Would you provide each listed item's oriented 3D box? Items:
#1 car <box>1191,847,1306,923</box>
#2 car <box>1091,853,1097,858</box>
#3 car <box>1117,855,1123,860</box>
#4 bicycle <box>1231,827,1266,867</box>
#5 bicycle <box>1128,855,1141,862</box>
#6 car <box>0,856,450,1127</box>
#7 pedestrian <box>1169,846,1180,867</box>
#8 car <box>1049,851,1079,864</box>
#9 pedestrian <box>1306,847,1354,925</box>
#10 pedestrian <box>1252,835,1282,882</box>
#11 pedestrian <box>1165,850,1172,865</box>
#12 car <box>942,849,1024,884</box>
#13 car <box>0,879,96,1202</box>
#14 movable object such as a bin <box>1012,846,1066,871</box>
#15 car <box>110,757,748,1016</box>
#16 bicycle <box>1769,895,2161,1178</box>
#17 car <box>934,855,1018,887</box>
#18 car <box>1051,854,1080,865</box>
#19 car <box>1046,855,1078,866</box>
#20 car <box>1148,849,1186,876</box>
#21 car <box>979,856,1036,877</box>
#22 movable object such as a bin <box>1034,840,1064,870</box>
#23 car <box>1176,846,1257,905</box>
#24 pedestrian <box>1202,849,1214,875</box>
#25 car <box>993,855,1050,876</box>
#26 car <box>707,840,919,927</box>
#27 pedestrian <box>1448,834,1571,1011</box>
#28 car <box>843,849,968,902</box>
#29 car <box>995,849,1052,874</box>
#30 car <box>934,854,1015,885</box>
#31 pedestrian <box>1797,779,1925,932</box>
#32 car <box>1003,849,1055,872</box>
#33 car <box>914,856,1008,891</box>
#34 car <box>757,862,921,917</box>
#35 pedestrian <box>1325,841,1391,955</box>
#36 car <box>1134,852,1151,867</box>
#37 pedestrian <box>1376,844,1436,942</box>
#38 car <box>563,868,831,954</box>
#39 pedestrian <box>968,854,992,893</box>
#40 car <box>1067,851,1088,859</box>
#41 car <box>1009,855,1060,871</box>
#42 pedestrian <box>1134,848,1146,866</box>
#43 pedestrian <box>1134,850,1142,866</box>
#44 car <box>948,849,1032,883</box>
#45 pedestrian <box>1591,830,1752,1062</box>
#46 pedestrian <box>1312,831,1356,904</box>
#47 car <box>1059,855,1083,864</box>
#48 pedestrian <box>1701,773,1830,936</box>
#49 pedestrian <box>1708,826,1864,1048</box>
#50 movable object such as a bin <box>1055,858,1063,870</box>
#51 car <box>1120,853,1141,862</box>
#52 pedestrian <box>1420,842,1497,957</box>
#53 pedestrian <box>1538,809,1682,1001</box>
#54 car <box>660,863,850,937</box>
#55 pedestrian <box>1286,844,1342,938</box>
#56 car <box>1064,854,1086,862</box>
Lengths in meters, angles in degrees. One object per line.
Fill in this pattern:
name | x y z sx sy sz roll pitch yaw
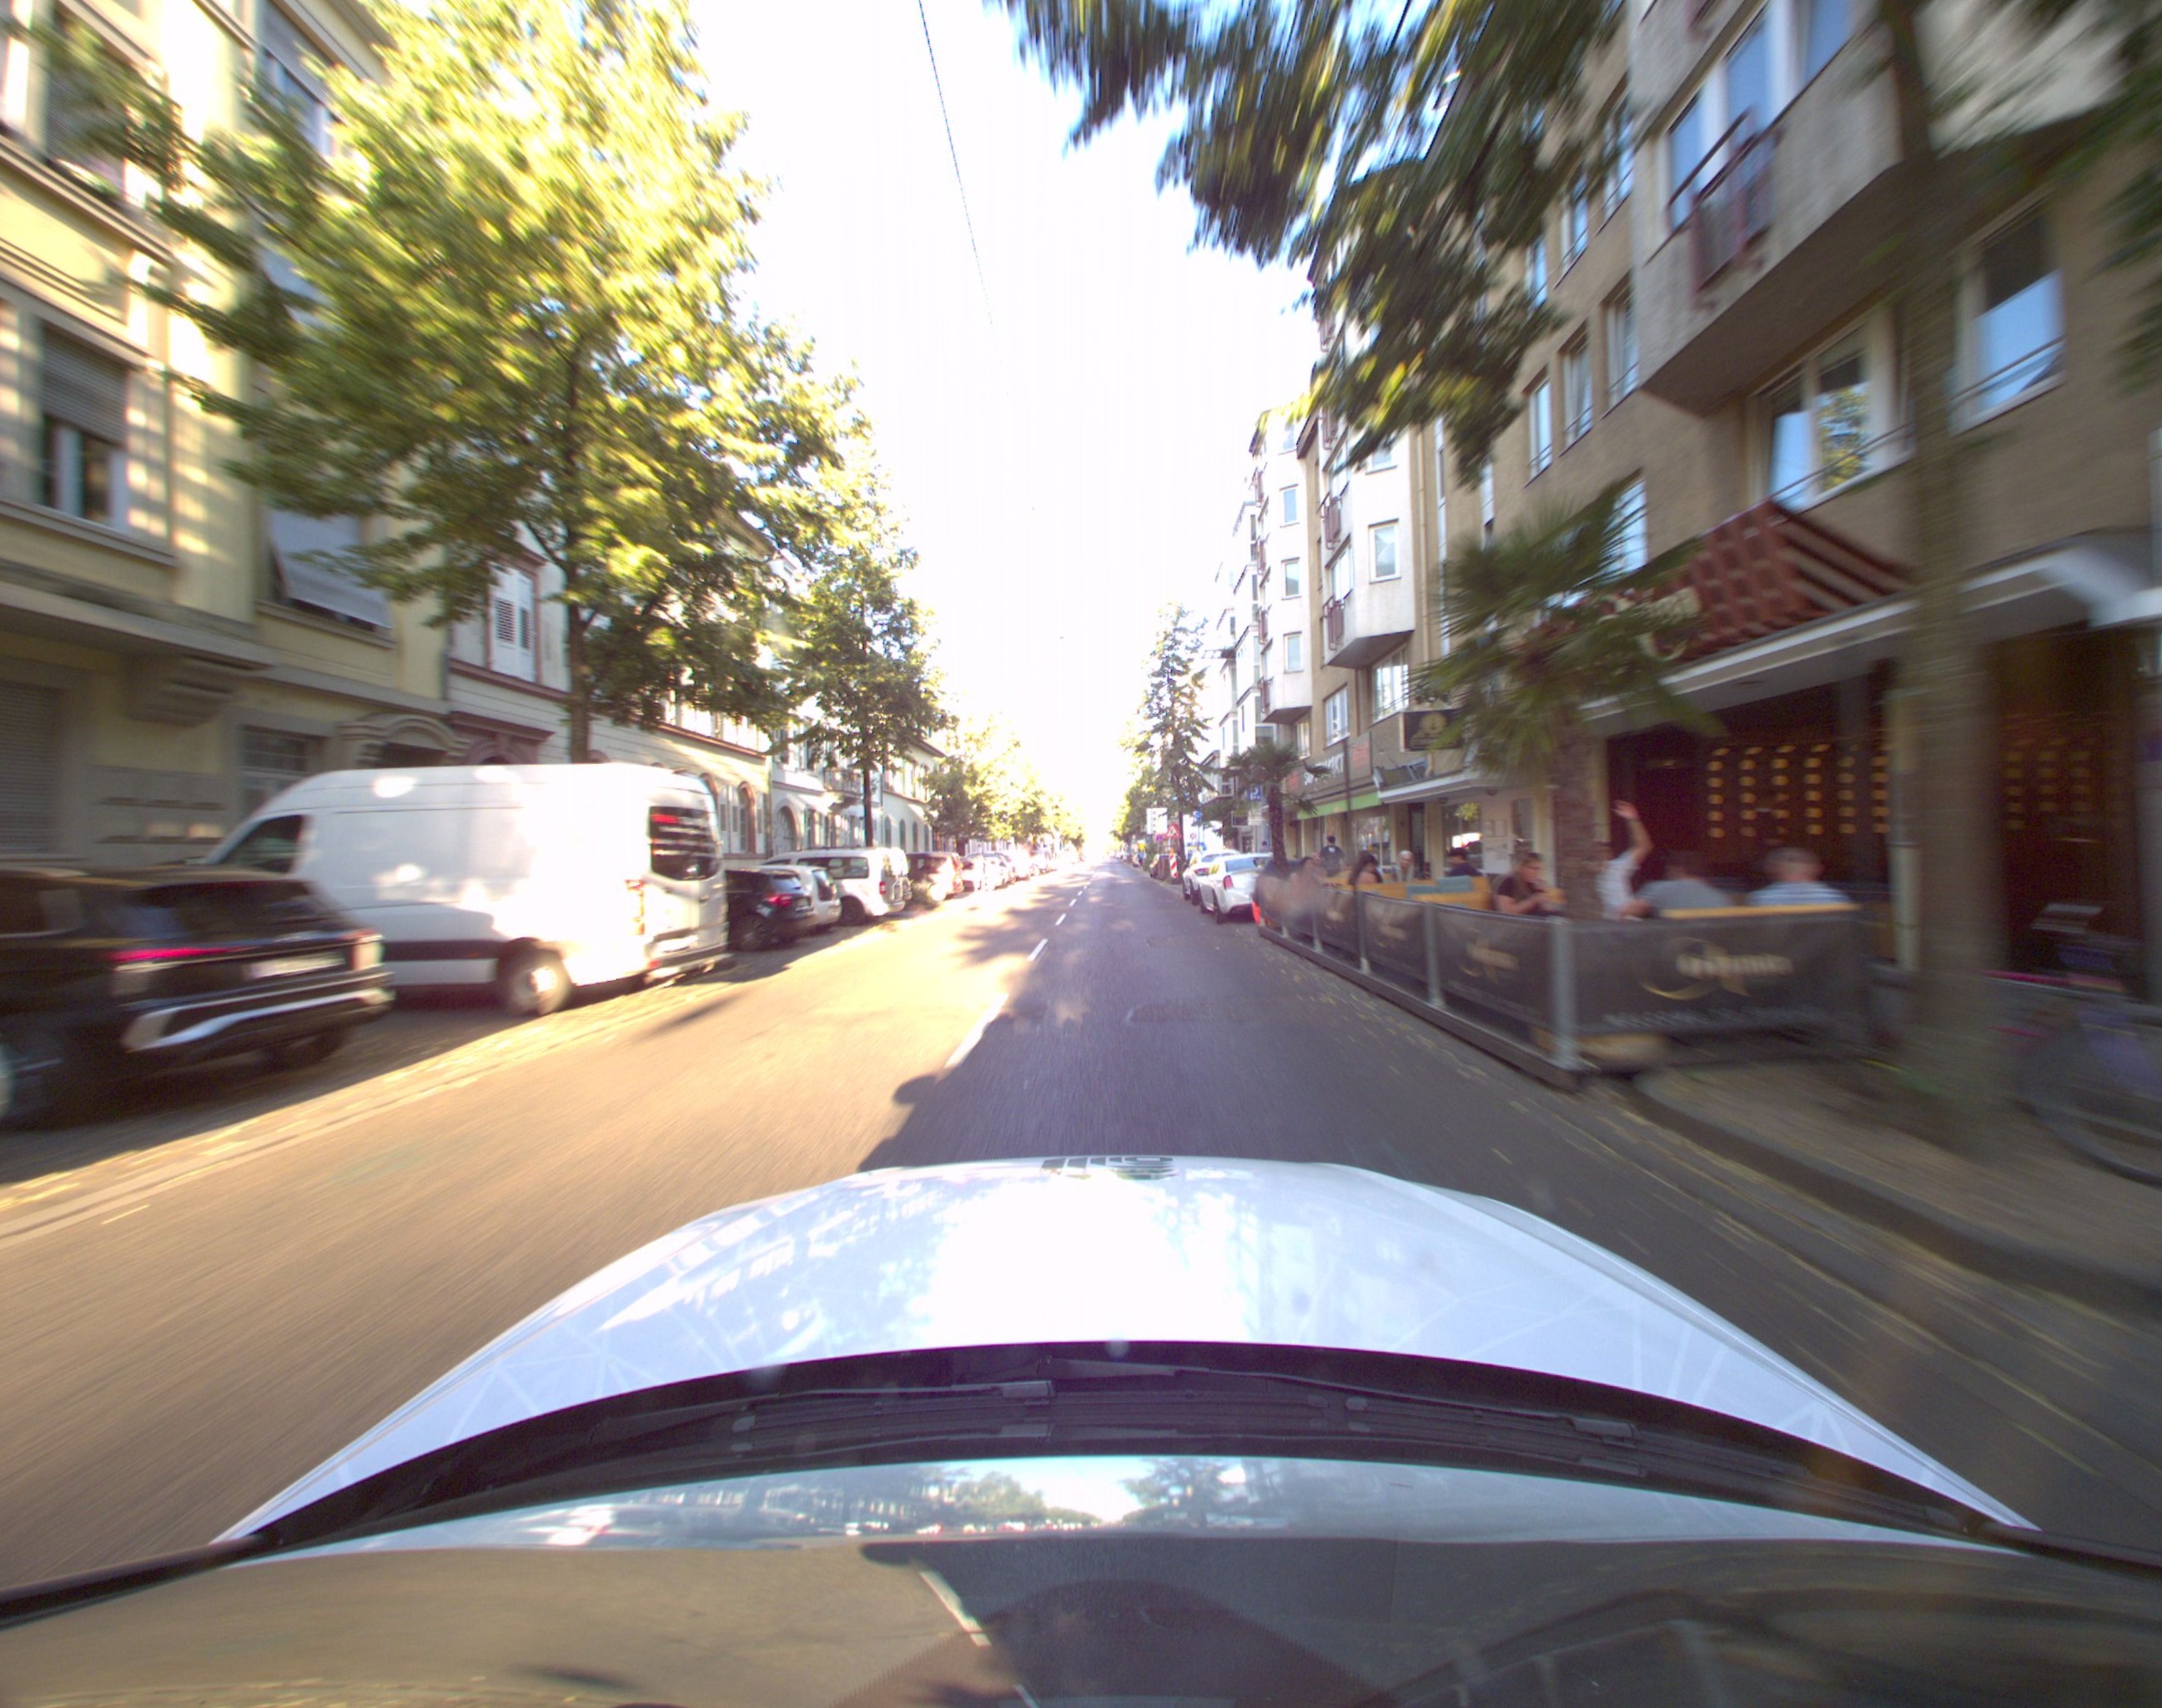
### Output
car | 3.913 0.657 19.955 1.835 1.480 5.192 -4 0 2
car | 3.939 0.497 244.283 1.745 1.540 3.306 -2 -1 3
car | 10.994 0.892 228.251 1.507 1.276 3.306 -1 -1 3
bicycle | 5.710 -0.238 27.846 0.772 1.262 2.052 -4 0 3
bicycle | 8.119 0.659 123.931 1.935 1.074 0.710 -1 0 33
car | -7.449 0.829 5.926 4.195 1.600 1.977 0 0 3
pedestrian | 8.541 0.252 74.464 0.820 1.854 1.097 -4 0 0
car | -2.705 0.596 130.490 4.554 1.962 1.991 -1 -1 1
pedestrian | 4.185 0.529 13.714 0.575 1.244 0.603 -4 0 2
pedestrian | 7.363 0.183 32.227 0.853 1.794 0.996 -3 0 -2
pedestrian | 9.603 0.383 89.547 0.656 1.562 0.702 -4 0 2
car | -5.677 0.708 47.403 4.411 1.870 1.895 -2 0 2
car | -7.198 0.892 3.331 4.197 1.506 1.793 0 0 1
movable object such as a bin | -4.503 0.454 88.530 2.285 2.495 5.788 -2 0 45
car | -7.120 0.340 9.390 5.637 2.621 2.172 0 0 1
bicycle | 4.223 0.734 3.844 0.384 0.983 1.709 -2 0 -4
car | -5.398 0.873 42.283 4.022 1.483 1.964 -2 0 1
car | -2.465 0.890 133.167 4.553 1.698 2.061 -1 -1 2
car | -2.803 0.895 119.945 4.530 1.541 1.811 -1 -1 0
car | 5.301 0.516 50.735 1.822 1.488 4.849 -4 0 0
car | -5.437 0.925 60.405 3.905 1.501 1.907 -1 0 4
movable object such as a bin | -3.237 0.112 84.090 2.615 2.969 5.305 -1 0 2
car | 4.196 0.623 25.882 1.872 1.574 4.695 -4 0 2
pedestrian | 7.728 0.499 49.500 0.608 1.525 0.773 -3 0 2
car | -4.624 0.886 63.419 4.316 1.501 1.840 -1 0 -4
car | -6.473 0.703 20.004 4.480 1.953 1.921 -1 0 3
pedestrian | 3.856 0.585 7.382 0.629 1.485 0.795 -4 0 2
car | -6.455 0.782 30.229 4.120 1.806 1.808 -2 0 3
car | -4.751 0.586 67.574 4.465 1.976 2.070 -1 0 2
car | -5.821 0.850 44.761 4.019 1.555 1.967 -2 0 4
pedestrian | 10.184 0.014 10.670 0.796 1.883 0.878 -3 1 2
car | -4.607 0.572 72.871 4.469 1.976 1.965 -1 0 -1
car | -5.452 0.879 37.372 4.046 1.461 1.685 -2 0 -1
car | -6.831 0.987 23.239 4.135 1.439 1.595 -1 0 3
pedestrian | 3.541 0.550 10.441 0.575 1.384 0.603 -4 0 2
car | 6.905 0.571 92.270 1.680 1.575 4.015 -4 0 2
pedestrian | 4.794 0.562 12.027 0.575 1.384 0.603 -4 0 2
car | -6.802 0.983 14.724 3.974 1.404 1.750 -1 -1 0
pedestrian | -4.324 0.818 34.903 0.824 1.638 0.828 -2 0 3
car | -0.731 0.202 178.637 4.425 1.759 1.920 -1 -1 2
car | -4.321 0.845 76.002 4.573 1.470 1.895 -1 0 4
pedestrian | 6.297 0.304 86.360 1.013 1.825 0.778 -4 0 -8
pedestrian | 6.264 0.448 89.166 0.677 1.754 0.823 -2 -1 -9
car | -5.536 0.716 50.192 4.852 1.908 1.974 -2 0 1
pedestrian | 3.989 0.592 5.544 0.575 1.462 0.603 -4 0 2
pedestrian | 6.117 0.314 19.694 0.785 1.704 0.701 -3 0 2
car | -1.950 1.087 154.742 4.425 1.568 1.920 -1 -1 2
pedestrian | 8.415 -0.006 10.051 0.797 1.883 0.877 -3 1 -2
pedestrian | 4.532 0.512 5.263 0.545 1.345 0.438 -4 0 2
movable object such as a bin | -2.124 0.963 77.905 0.687 1.105 0.884 -2 0 4
car | 9.077 0.621 148.652 1.654 1.588 3.846 -1 0 45
pedestrian | 4.769 0.559 10.334 0.575 1.384 0.719 -4 0 2
pedestrian | 4.732 0.434 7.345 0.705 1.598 0.795 -4 0 2
car | -6.846 0.939 17.364 3.360 1.467 1.712 0 0 -2
pedestrian | 3.458 0.535 12.140 0.575 1.319 0.704 -4 0 2
car | -1.289 0.809 172.138 4.425 1.523 1.920 -1 -1 2
